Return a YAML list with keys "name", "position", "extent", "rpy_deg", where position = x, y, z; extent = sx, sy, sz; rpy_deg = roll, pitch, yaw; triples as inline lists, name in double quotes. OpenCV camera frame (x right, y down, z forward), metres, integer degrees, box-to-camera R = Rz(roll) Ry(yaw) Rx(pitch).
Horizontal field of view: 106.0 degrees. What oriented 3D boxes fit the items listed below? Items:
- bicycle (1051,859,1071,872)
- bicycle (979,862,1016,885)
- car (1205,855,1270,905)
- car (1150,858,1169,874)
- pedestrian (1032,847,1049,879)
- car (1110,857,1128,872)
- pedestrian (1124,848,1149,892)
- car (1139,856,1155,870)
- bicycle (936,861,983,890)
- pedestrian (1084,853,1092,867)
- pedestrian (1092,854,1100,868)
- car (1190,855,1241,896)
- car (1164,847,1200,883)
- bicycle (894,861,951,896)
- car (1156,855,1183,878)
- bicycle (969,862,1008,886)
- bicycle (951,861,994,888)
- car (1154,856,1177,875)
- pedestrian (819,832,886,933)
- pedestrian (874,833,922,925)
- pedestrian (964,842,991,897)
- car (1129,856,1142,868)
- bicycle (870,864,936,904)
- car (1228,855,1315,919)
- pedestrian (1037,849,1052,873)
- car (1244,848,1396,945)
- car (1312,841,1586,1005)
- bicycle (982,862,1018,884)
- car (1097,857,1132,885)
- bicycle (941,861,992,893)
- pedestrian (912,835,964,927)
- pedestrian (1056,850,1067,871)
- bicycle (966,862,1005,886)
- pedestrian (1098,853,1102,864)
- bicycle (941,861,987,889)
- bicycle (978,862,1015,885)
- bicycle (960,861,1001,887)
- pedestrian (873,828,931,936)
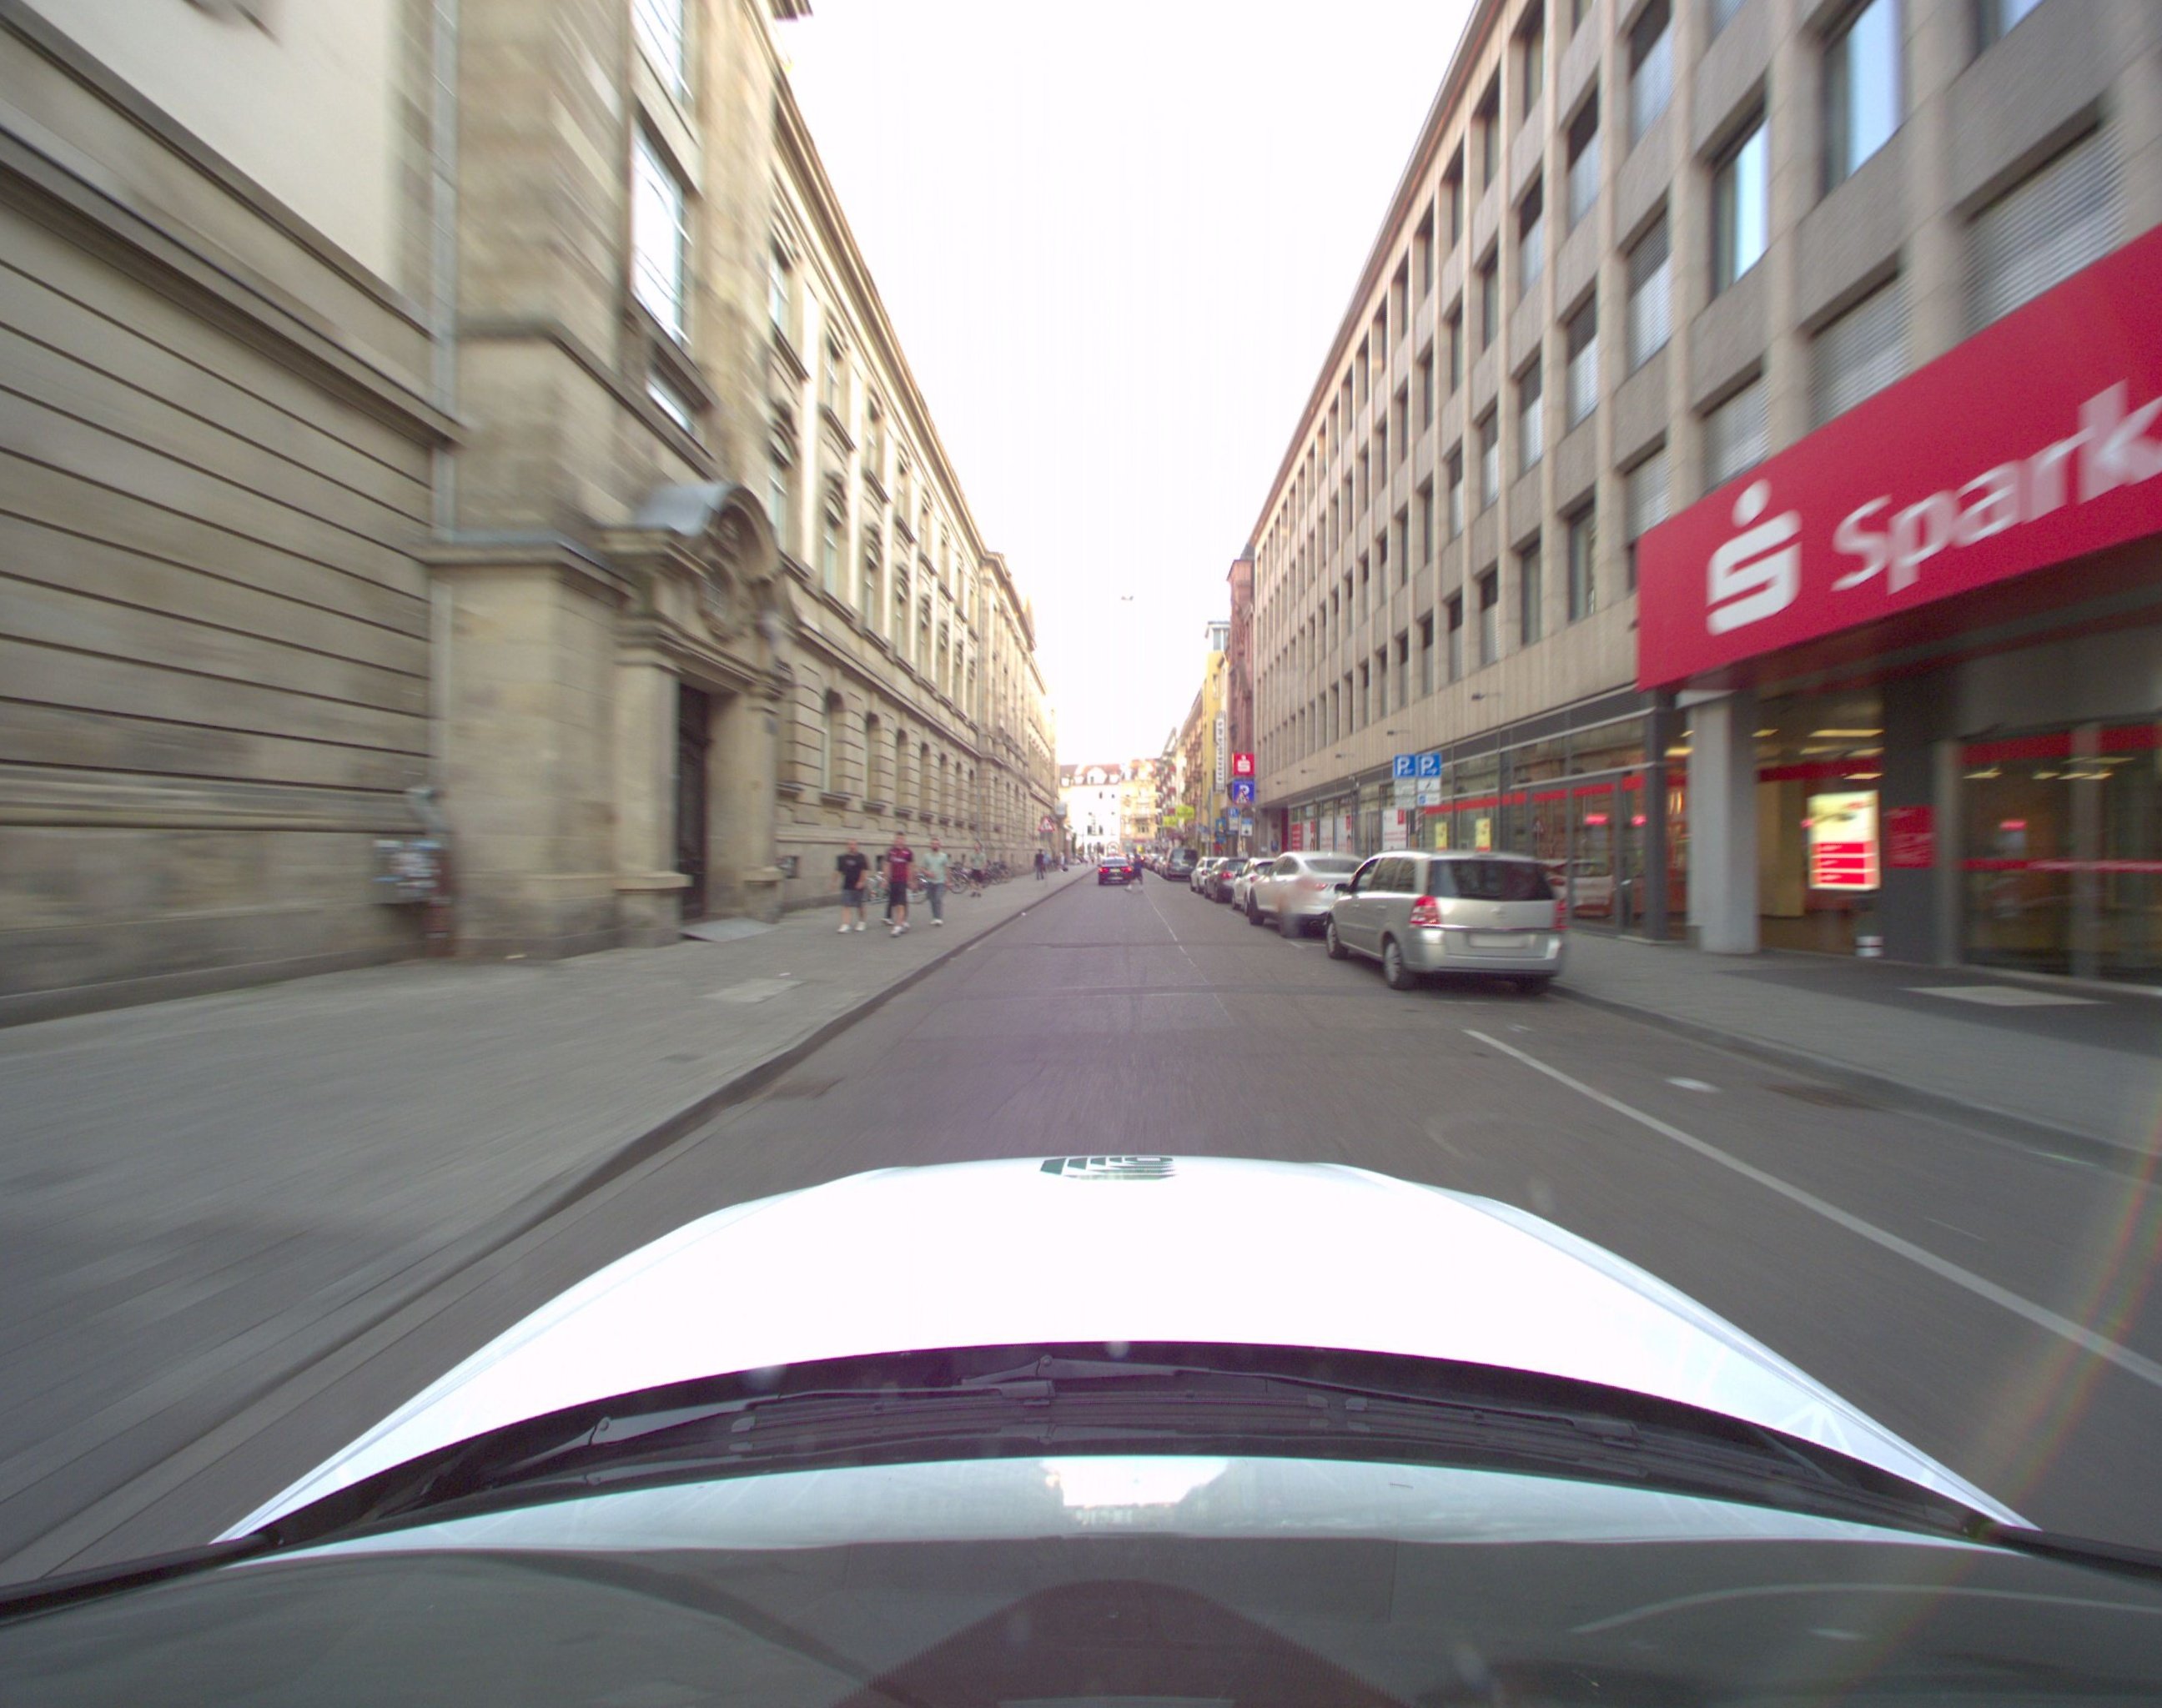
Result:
- name: "bicycle"
  position: [-1.733, 1.032, 71.091]
  extent: [1.672, 1.041, 0.488]
  rpy_deg: [3, 0, 3]
- name: "bicycle"
  position: [-4.009, 0.914, 39.004]
  extent: [1.673, 1.041, 0.487]
  rpy_deg: [2, 0, 1]
- name: "car"
  position: [5.142, 0.822, 27.103]
  extent: [1.638, 1.523, 3.286]
  rpy_deg: [2, 0, 2]
- name: "car"
  position: [7.684, 1.155, 79.810]
  extent: [1.638, 1.523, 3.286]
  rpy_deg: [2, 0, 2]
- name: "pedestrian"
  position: [-2.284, 0.517, 45.978]
  extent: [0.801, 1.752, 0.810]
  rpy_deg: [3, -1, 0]
- name: "car"
  position: [3.869, 1.074, 84.375]
  extent: [1.787, 1.510, 4.001]
  rpy_deg: [0, 0, 1]
- name: "pedestrian"
  position: [2.279, 0.668, 33.515]
  extent: [0.821, 1.791, 0.723]
  rpy_deg: [0, 0, -13]
- name: "car"
  position: [7.643, 1.052, 94.252]
  extent: [1.638, 1.523, 3.286]
  rpy_deg: [2, 0, 2]
- name: "bicycle"
  position: [-4.661, 0.830, 31.321]
  extent: [1.673, 1.041, 0.487]
  rpy_deg: [2, 0, 1]
- name: "pedestrian"
  position: [0.913, 0.803, 103.422]
  extent: [0.930, 1.752, 0.810]
  rpy_deg: [3, -1, -1]
- name: "pedestrian"
  position: [1.932, 0.876, 103.930]
  extent: [0.930, 1.752, 0.810]
  rpy_deg: [3, -1, -1]
- name: "car"
  position: [5.422, 0.839, 33.164]
  extent: [1.638, 1.523, 3.286]
  rpy_deg: [2, 0, 2]
- name: "car"
  position: [6.141, 0.648, 49.809]
  extent: [1.863, 2.018, 3.767]
  rpy_deg: [2, 0, 2]
- name: "bicycle"
  position: [-4.915, 0.763, 25.226]
  extent: [1.682, 1.041, 0.485]
  rpy_deg: [2, 0, -15]
- name: "car"
  position: [6.207, 0.834, 57.270]
  extent: [1.638, 1.523, 3.286]
  rpy_deg: [2, 0, 2]
- name: "bicycle"
  position: [-4.236, 0.894, 37.212]
  extent: [1.673, 1.041, 0.487]
  rpy_deg: [2, 0, 1]
- name: "bicycle"
  position: [-4.443, 0.853, 33.419]
  extent: [1.673, 1.041, 0.487]
  rpy_deg: [2, 0, 1]
- name: "car"
  position: [7.001, 0.934, 67.411]
  extent: [1.638, 1.523, 3.286]
  rpy_deg: [2, 0, 2]
- name: "pedestrian"
  position: [-4.018, 0.489, 14.382]
  extent: [0.794, 1.675, 0.975]
  rpy_deg: [3, -1, 0]
- name: "pedestrian"
  position: [-3.629, 0.484, 16.181]
  extent: [0.687, 1.752, 0.721]
  rpy_deg: [3, -1, 0]
- name: "pedestrian"
  position: [-3.423, 0.519, 27.024]
  extent: [0.716, 1.752, 0.668]
  rpy_deg: [3, -1, 0]
- name: "car"
  position: [7.393, 1.050, 110.534]
  extent: [1.638, 1.523, 3.286]
  rpy_deg: [2, 0, 2]
- name: "bicycle"
  position: [-4.897, 0.817, 22.389]
  extent: [1.670, 1.041, 0.488]
  rpy_deg: [2, 0, 7]
- name: "car"
  position: [5.049, 0.828, 21.938]
  extent: [1.638, 1.523, 3.286]
  rpy_deg: [2, 0, 2]
- name: "pedestrian"
  position: [-2.535, 0.500, 57.149]
  extent: [0.930, 1.636, 0.654]
  rpy_deg: [3, -1, 0]
- name: "car"
  position: [4.588, 0.743, 16.284]
  extent: [1.764, 1.636, 4.089]
  rpy_deg: [2, 0, -1]
- name: "car"
  position: [4.377, 0.716, 10.449]
  extent: [1.763, 1.636, 4.054]
  rpy_deg: [2, 0, 2]
- name: "bicycle"
  position: [-3.992, 0.928, 40.291]
  extent: [1.673, 1.041, 0.487]
  rpy_deg: [2, 0, 1]
- name: "car"
  position: [1.736, 0.874, 42.883]
  extent: [1.763, 1.409, 4.054]
  rpy_deg: [-1, 0, 2]
- name: "bicycle"
  position: [-4.044, 0.801, 28.743]
  extent: [1.673, 1.041, 0.487]
  rpy_deg: [2, 0, 1]
- name: "pedestrian"
  position: [-2.844, 0.530, 16.256]
  extent: [0.784, 1.752, 0.721]
  rpy_deg: [3, -1, 0]
- name: "pedestrian"
  position: [-1.700, 0.573, 70.265]
  extent: [0.804, 1.752, 0.936]
  rpy_deg: [3, -1, 1]
- name: "bicycle"
  position: [-4.316, 0.889, 36.759]
  extent: [1.673, 1.041, 0.487]
  rpy_deg: [2, 0, 1]
- name: "pedestrian"
  position: [3.213, 0.804, 137.368]
  extent: [0.664, 1.752, 0.681]
  rpy_deg: [3, -1, -1]
- name: "bicycle"
  position: [-4.618, 0.839, 32.153]
  extent: [1.673, 1.041, 0.487]
  rpy_deg: [2, 0, 1]
- name: "bicycle"
  position: [-3.987, 0.909, 38.539]
  extent: [1.673, 1.041, 0.487]
  rpy_deg: [2, 0, 1]
- name: "bicycle"
  position: [-4.362, 0.876, 35.522]
  extent: [1.673, 1.041, 0.487]
  rpy_deg: [2, 0, 1]
- name: "pedestrian"
  position: [-3.147, 0.477, 14.397]
  extent: [0.695, 1.812, 0.975]
  rpy_deg: [3, -1, 0]
